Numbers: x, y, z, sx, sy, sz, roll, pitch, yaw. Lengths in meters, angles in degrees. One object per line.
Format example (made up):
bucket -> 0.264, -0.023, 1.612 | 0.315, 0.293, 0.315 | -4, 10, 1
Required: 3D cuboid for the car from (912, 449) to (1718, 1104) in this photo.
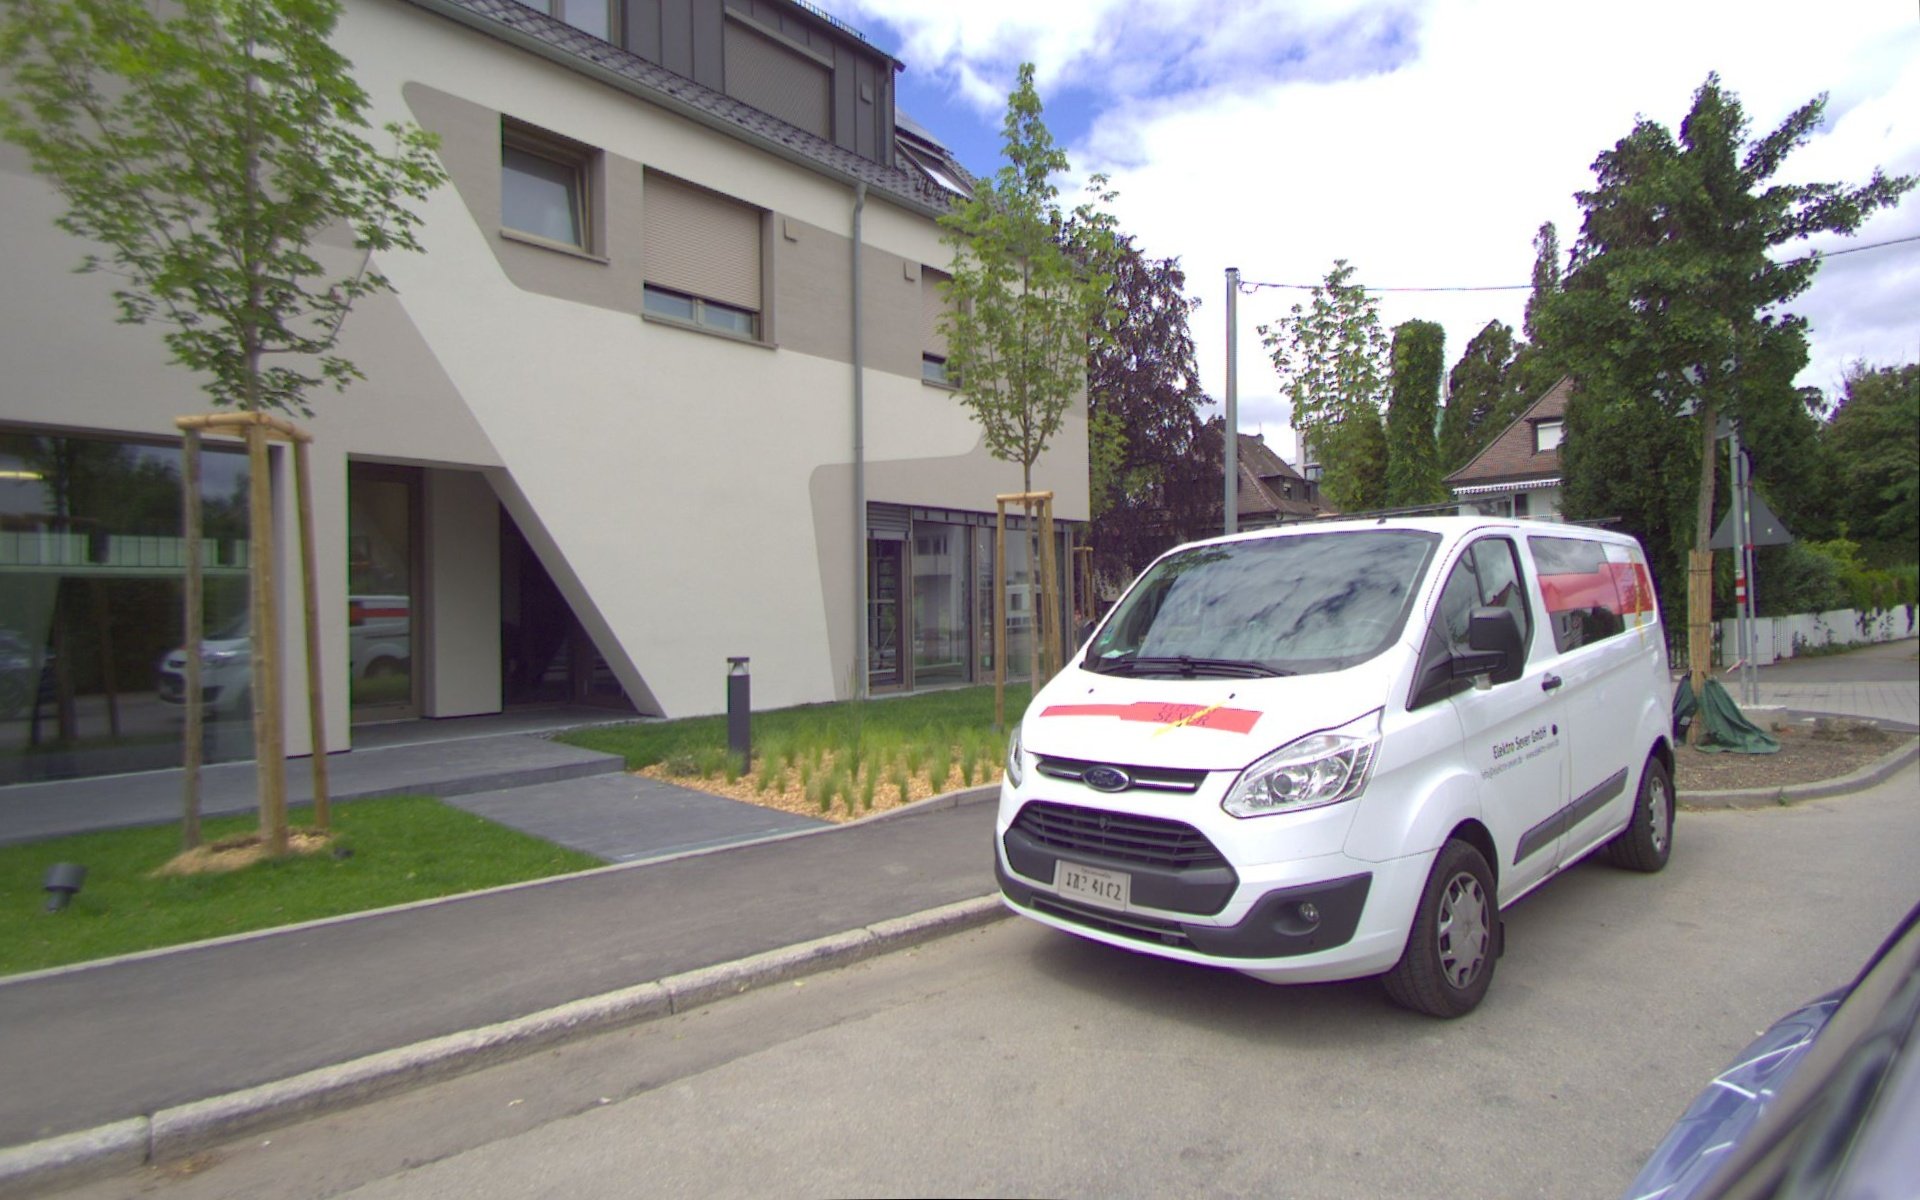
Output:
car -> 2.243, 0.510, 5.380 | 4.819, 1.940, 1.960 | -1, -2, -43
